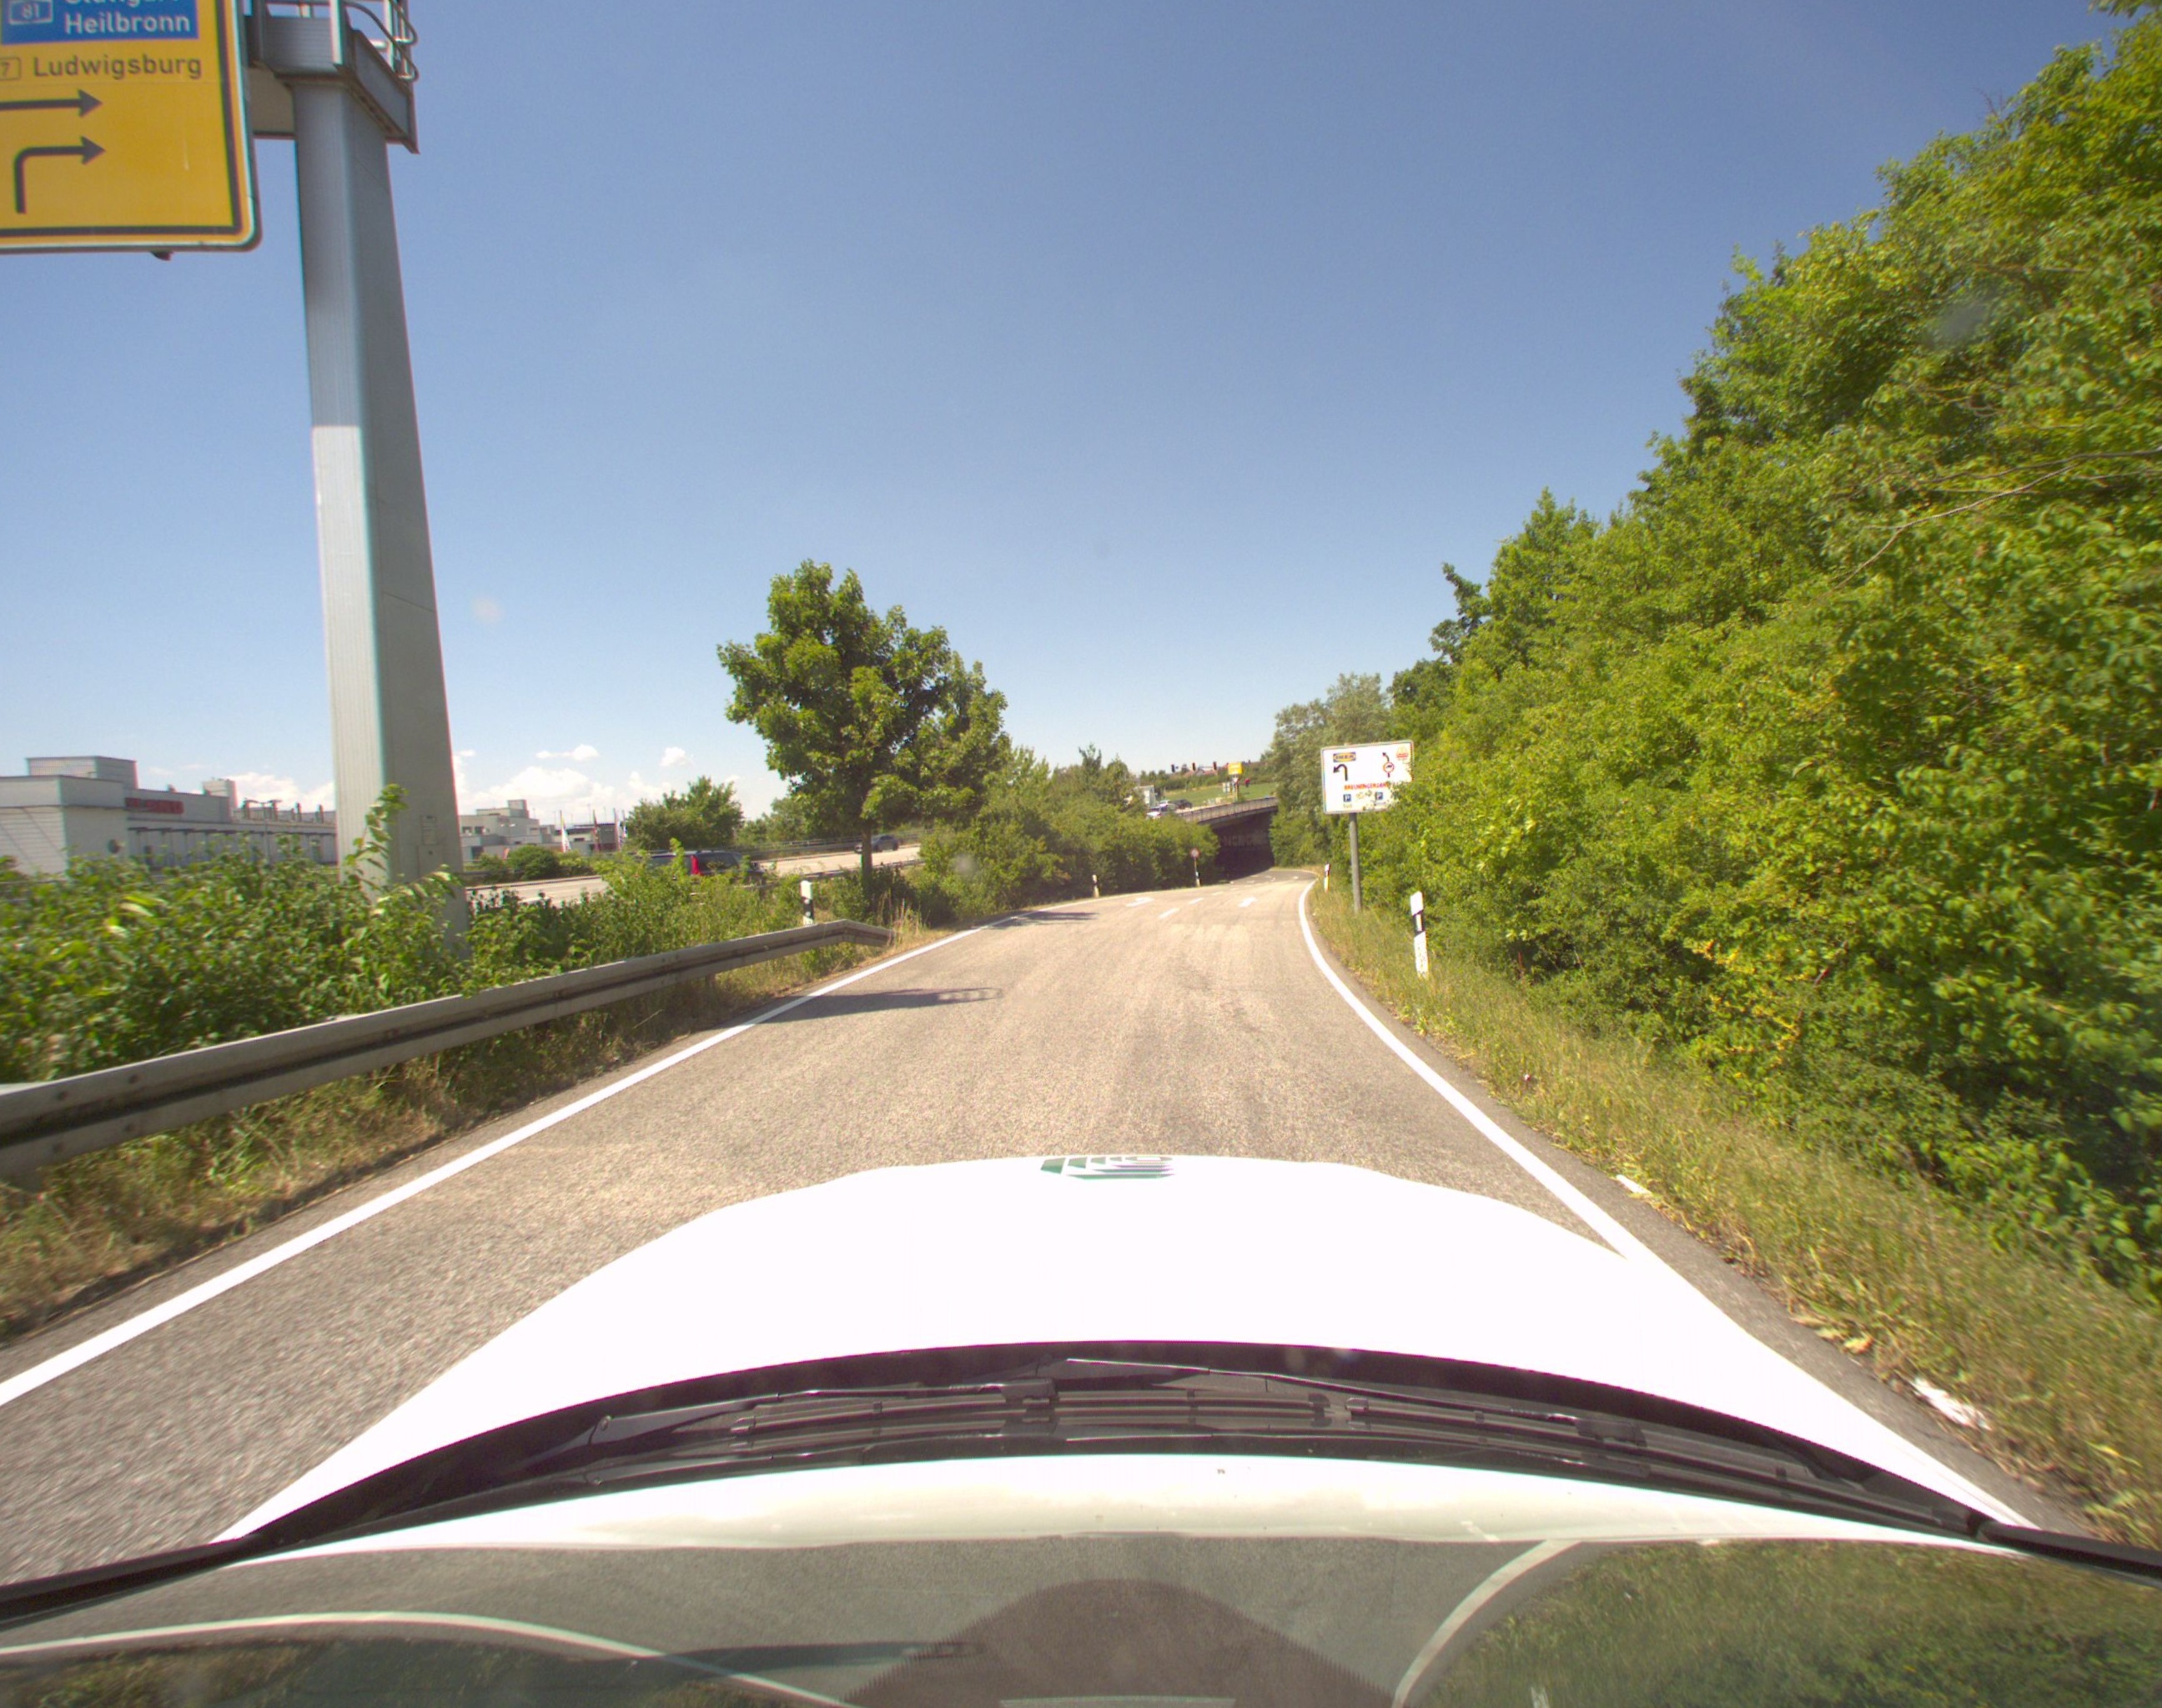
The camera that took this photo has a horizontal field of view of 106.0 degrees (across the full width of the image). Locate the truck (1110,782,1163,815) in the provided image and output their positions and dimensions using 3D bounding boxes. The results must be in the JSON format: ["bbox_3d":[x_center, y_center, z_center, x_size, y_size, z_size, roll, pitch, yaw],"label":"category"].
[{"bbox_3d":[6.923,-6.843,100.495,2.999,3.589,8.959,-5,1,27],"label":"truck"}]

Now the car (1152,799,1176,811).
[{"bbox_3d":[10.911,-6.393,106.785,1.880,1.363,4.023,-2,0,24],"label":"car"}]

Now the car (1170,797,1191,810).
[{"bbox_3d":[13.864,-7.007,113.392,1.976,1.618,4.021,-2,0,21],"label":"car"}]

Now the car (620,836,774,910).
[{"bbox_3d":[-9.537,0.410,20.714,1.727,1.545,4.730,-4,0,-2],"label":"car"}]

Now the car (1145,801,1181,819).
[{"bbox_3d":[7.473,-3.979,73.852,1.975,1.420,4.024,-5,1,25],"label":"car"}]

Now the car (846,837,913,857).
[{"bbox_3d":[-16.660,-0.584,67.708,2.132,1.442,5.872,-2,1,26],"label":"car"}]
